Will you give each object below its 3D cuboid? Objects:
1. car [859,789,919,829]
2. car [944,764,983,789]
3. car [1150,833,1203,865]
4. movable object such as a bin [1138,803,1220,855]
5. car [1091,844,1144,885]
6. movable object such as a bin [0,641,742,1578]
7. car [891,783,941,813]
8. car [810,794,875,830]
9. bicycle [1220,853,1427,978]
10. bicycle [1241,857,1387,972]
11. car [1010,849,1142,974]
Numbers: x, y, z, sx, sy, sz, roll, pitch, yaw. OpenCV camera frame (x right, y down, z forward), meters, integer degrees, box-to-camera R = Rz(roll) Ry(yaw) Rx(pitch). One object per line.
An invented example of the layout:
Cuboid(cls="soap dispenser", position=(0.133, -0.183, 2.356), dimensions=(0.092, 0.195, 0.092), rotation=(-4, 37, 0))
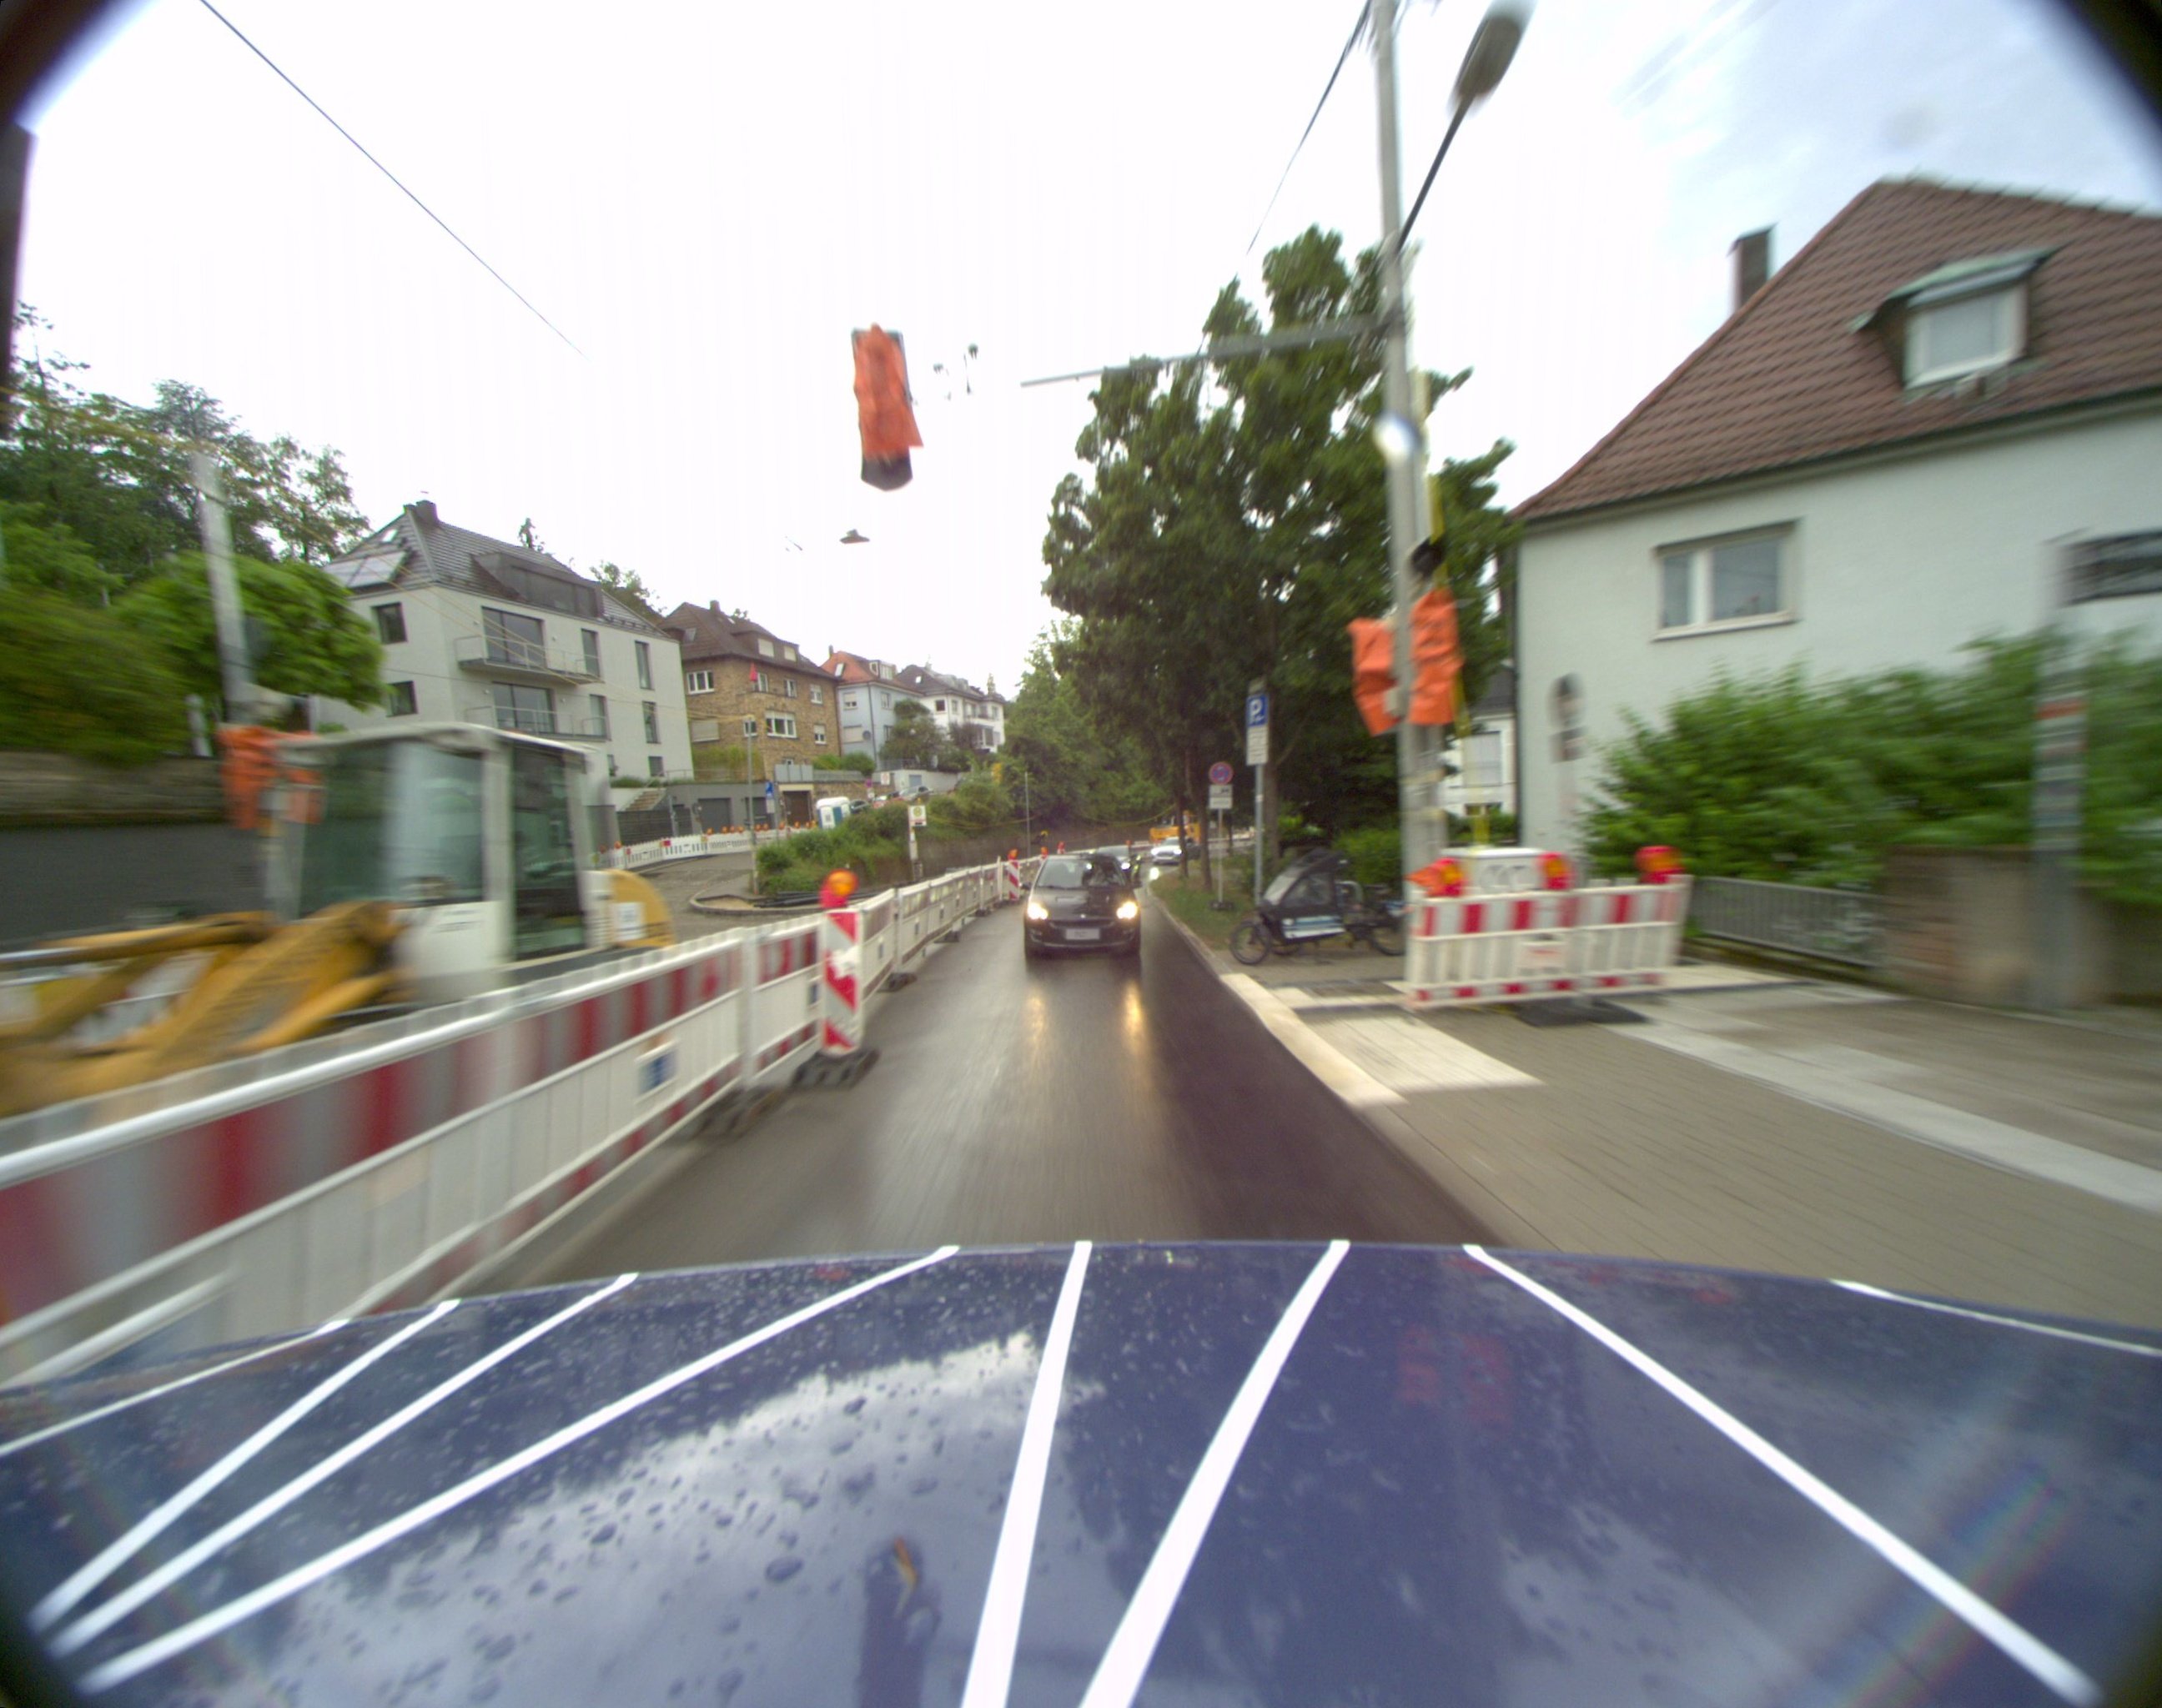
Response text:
Cuboid(cls="car", position=(-12.919, -3.112, 51.566), dimensions=(1.898, 2.070, 4.425), rotation=(-1, 11, 14))
Cuboid(cls="car", position=(-10.146, -6.769, 66.034), dimensions=(1.857, 1.629, 3.960), rotation=(-1, 11, 14))
Cuboid(cls="car", position=(5.846, -0.364, 46.081), dimensions=(1.997, 1.699, 4.579), rotation=(-1, 2, 22))
Cuboid(cls="movable object such as a bin", position=(7.956, -2.064, 60.817), dimensions=(3.322, 3.818, 7.215), rotation=(-1, 3, 35))
Cuboid(cls="car", position=(1.571, 0.365, 31.252), dimensions=(1.842, 1.395, 4.071), rotation=(-2, 2, 7))
Cuboid(cls="movable object such as a bin", position=(-4.350, 0.699, 4.309), dimensions=(2.092, 2.823, 5.673), rotation=(-3, 3, 0))
Cuboid(cls="car", position=(-12.011, -4.133, 55.660), dimensions=(1.857, 1.629, 3.960), rotation=(-1, 10, 14))
Cuboid(cls="car", position=(-14.481, -2.576, 46.356), dimensions=(1.857, 1.629, 3.830), rotation=(-1, 11, 14))
Cuboid(cls="bicycle", position=(2.918, 0.708, 9.248), dimensions=(2.236, 1.354, 0.809), rotation=(-2, 2, -6))
Cuboid(cls="bicycle", position=(3.006, 0.765, 9.839), dimensions=(1.695, 1.337, 0.419), rotation=(-4, 1, -5))
Cuboid(cls="car", position=(0.117, 0.762, 12.452), dimensions=(1.673, 1.458, 4.715), rotation=(-2, 2, 5))
